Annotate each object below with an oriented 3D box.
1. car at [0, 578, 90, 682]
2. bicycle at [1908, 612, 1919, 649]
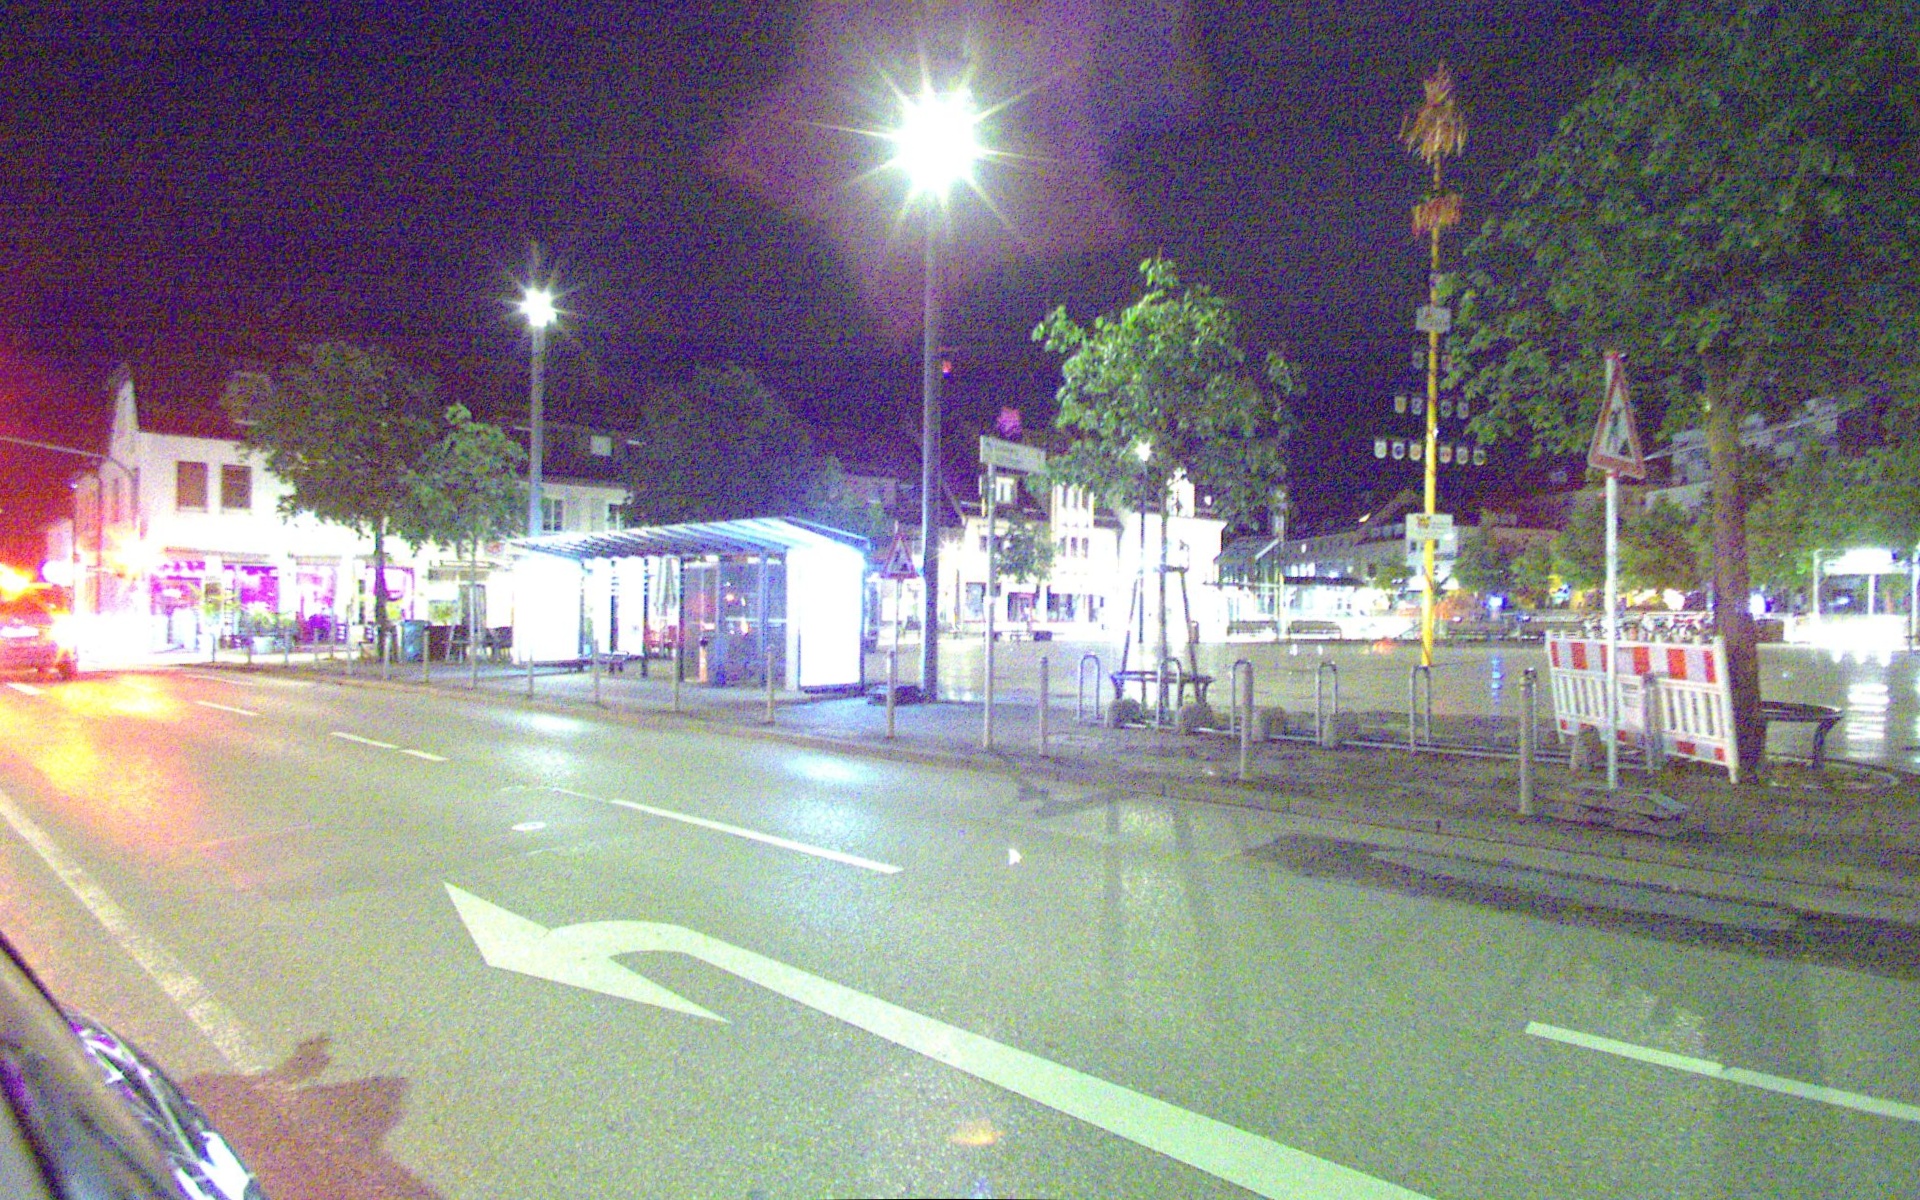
[{"bbox_3d":[-19.105,0.567,20.068,4.907,1.886,1.947,-1,-1,39],"label":"car"},{"bbox_3d":[26.394,0.816,26.983,1.525,0.965,0.476,-1,0,25],"label":"bicycle"}]
